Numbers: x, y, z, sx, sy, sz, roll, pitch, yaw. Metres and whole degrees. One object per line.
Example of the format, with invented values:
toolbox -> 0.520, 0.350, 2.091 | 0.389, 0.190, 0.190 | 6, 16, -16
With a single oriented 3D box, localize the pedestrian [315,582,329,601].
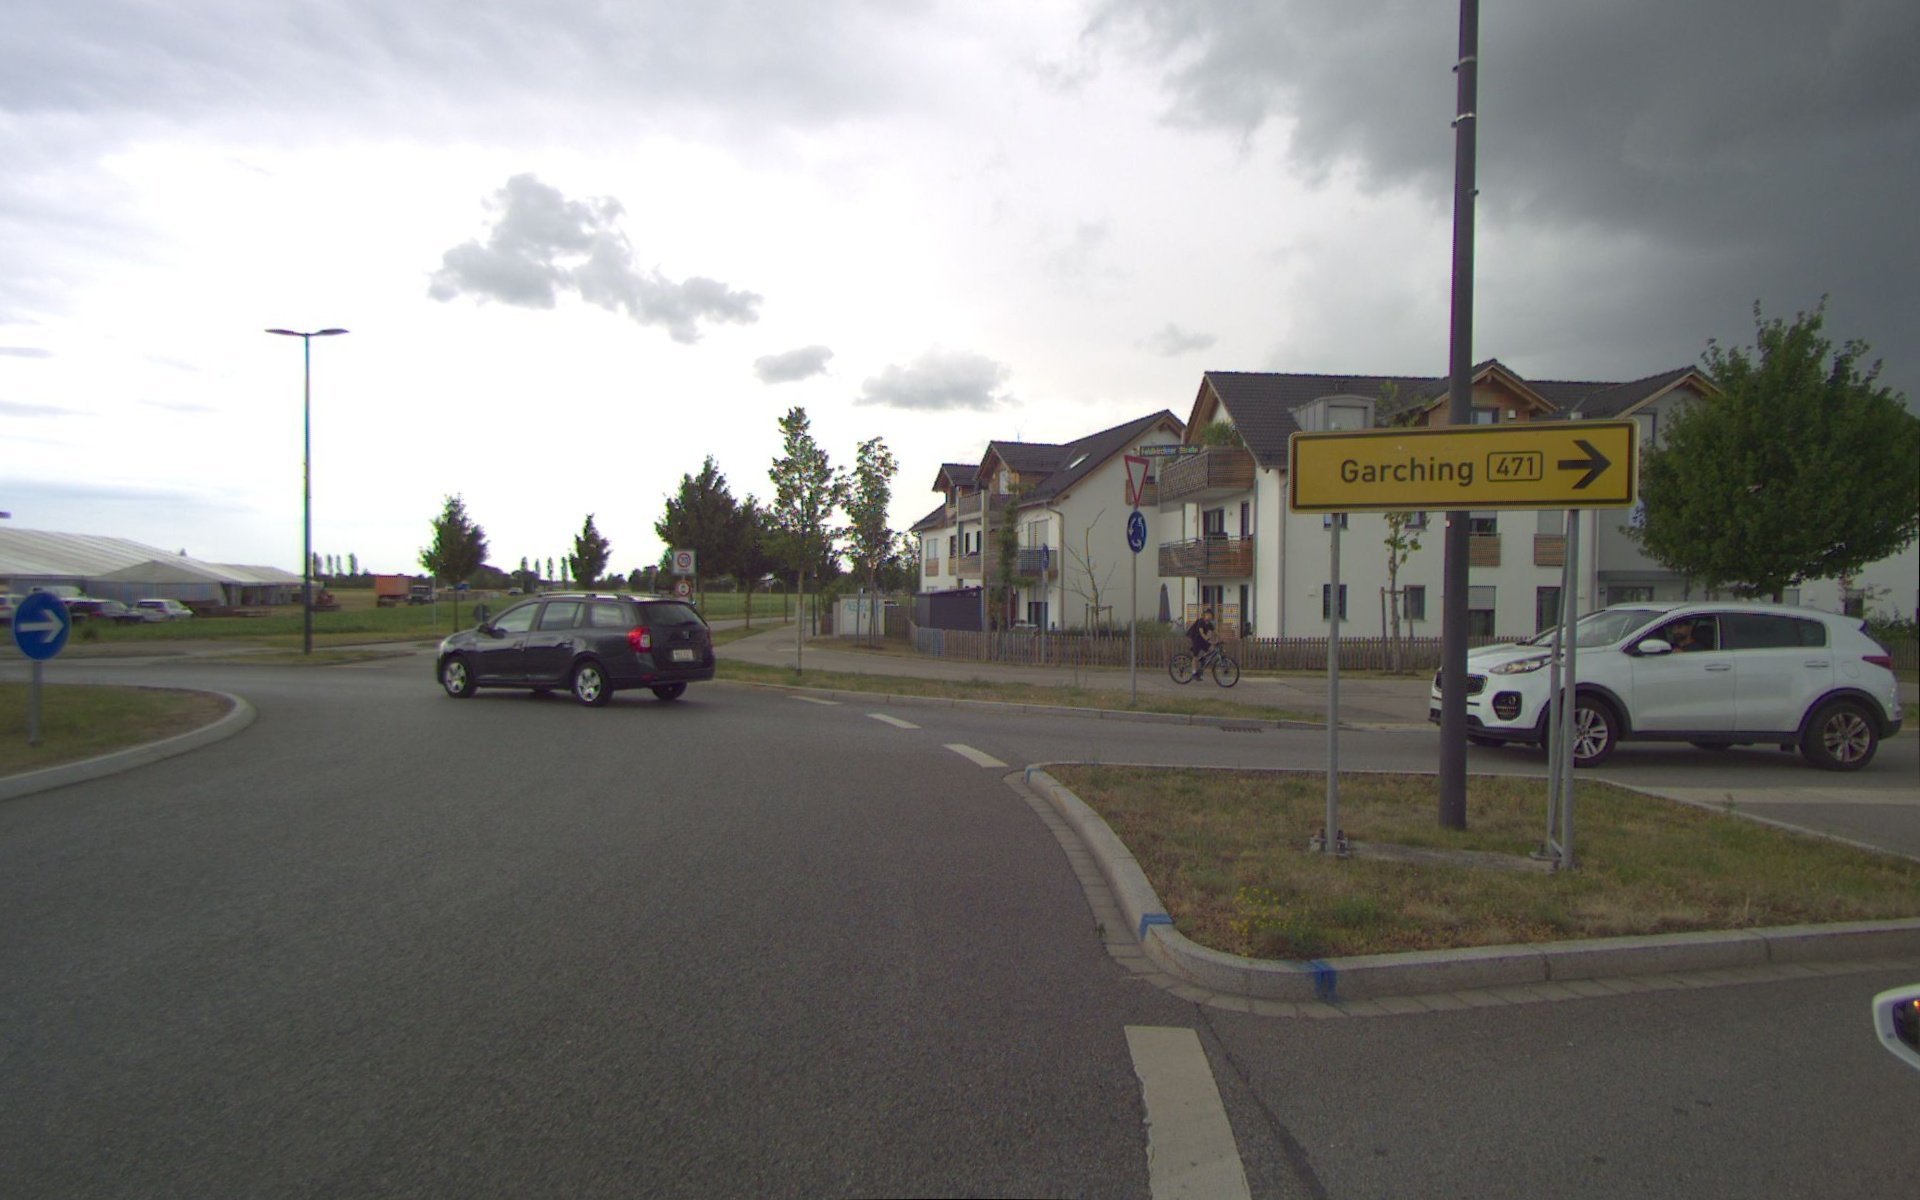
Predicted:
pedestrian -> -68.069, -0.892, 107.202 | 1.034, 2.041, 1.057 | 0, 1, -17

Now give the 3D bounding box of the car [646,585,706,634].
car -> -14.002, 0.436, 49.784 | 1.962, 2.284, 4.567 | 1, 1, -4

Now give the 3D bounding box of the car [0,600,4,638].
car -> -43.321, 0.801, 42.908 | 3.797, 1.628, 1.735 | 1, 1, 12

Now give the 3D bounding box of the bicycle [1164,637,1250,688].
bicycle -> 4.994, 1.251, 20.391 | 1.690, 0.959, 0.494 | -1, -1, 44

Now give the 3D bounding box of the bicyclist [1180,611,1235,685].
bicyclist -> 5.025, 0.953, 20.398 | 0.857, 1.466, 0.721 | 0, -1, 42

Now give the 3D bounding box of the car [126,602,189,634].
car -> -42.429, 0.905, 53.182 | 1.708, 1.574, 3.974 | 0, 1, -25

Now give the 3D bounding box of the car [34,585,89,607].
car -> -67.834, -0.341, 75.904 | 1.807, 1.628, 3.811 | 0, 1, -20

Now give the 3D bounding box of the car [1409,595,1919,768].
car -> 7.333, 0.811, 10.680 | 4.365, 1.647, 1.713 | 1, 0, -4

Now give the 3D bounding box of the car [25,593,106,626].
car -> -45.592, 0.445, 51.302 | 1.808, 1.628, 3.810 | 0, 0, -21

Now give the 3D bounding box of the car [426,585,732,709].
car -> -5.544, 0.613, 14.568 | 4.199, 1.584, 1.772 | 0, -1, 26

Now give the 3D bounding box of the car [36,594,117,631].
car -> -41.059, 0.548, 46.667 | 3.806, 1.628, 1.633 | 1, 1, 29

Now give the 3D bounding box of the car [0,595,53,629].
car -> -47.878, 0.574, 50.731 | 1.808, 1.628, 3.810 | 0, 0, -21
